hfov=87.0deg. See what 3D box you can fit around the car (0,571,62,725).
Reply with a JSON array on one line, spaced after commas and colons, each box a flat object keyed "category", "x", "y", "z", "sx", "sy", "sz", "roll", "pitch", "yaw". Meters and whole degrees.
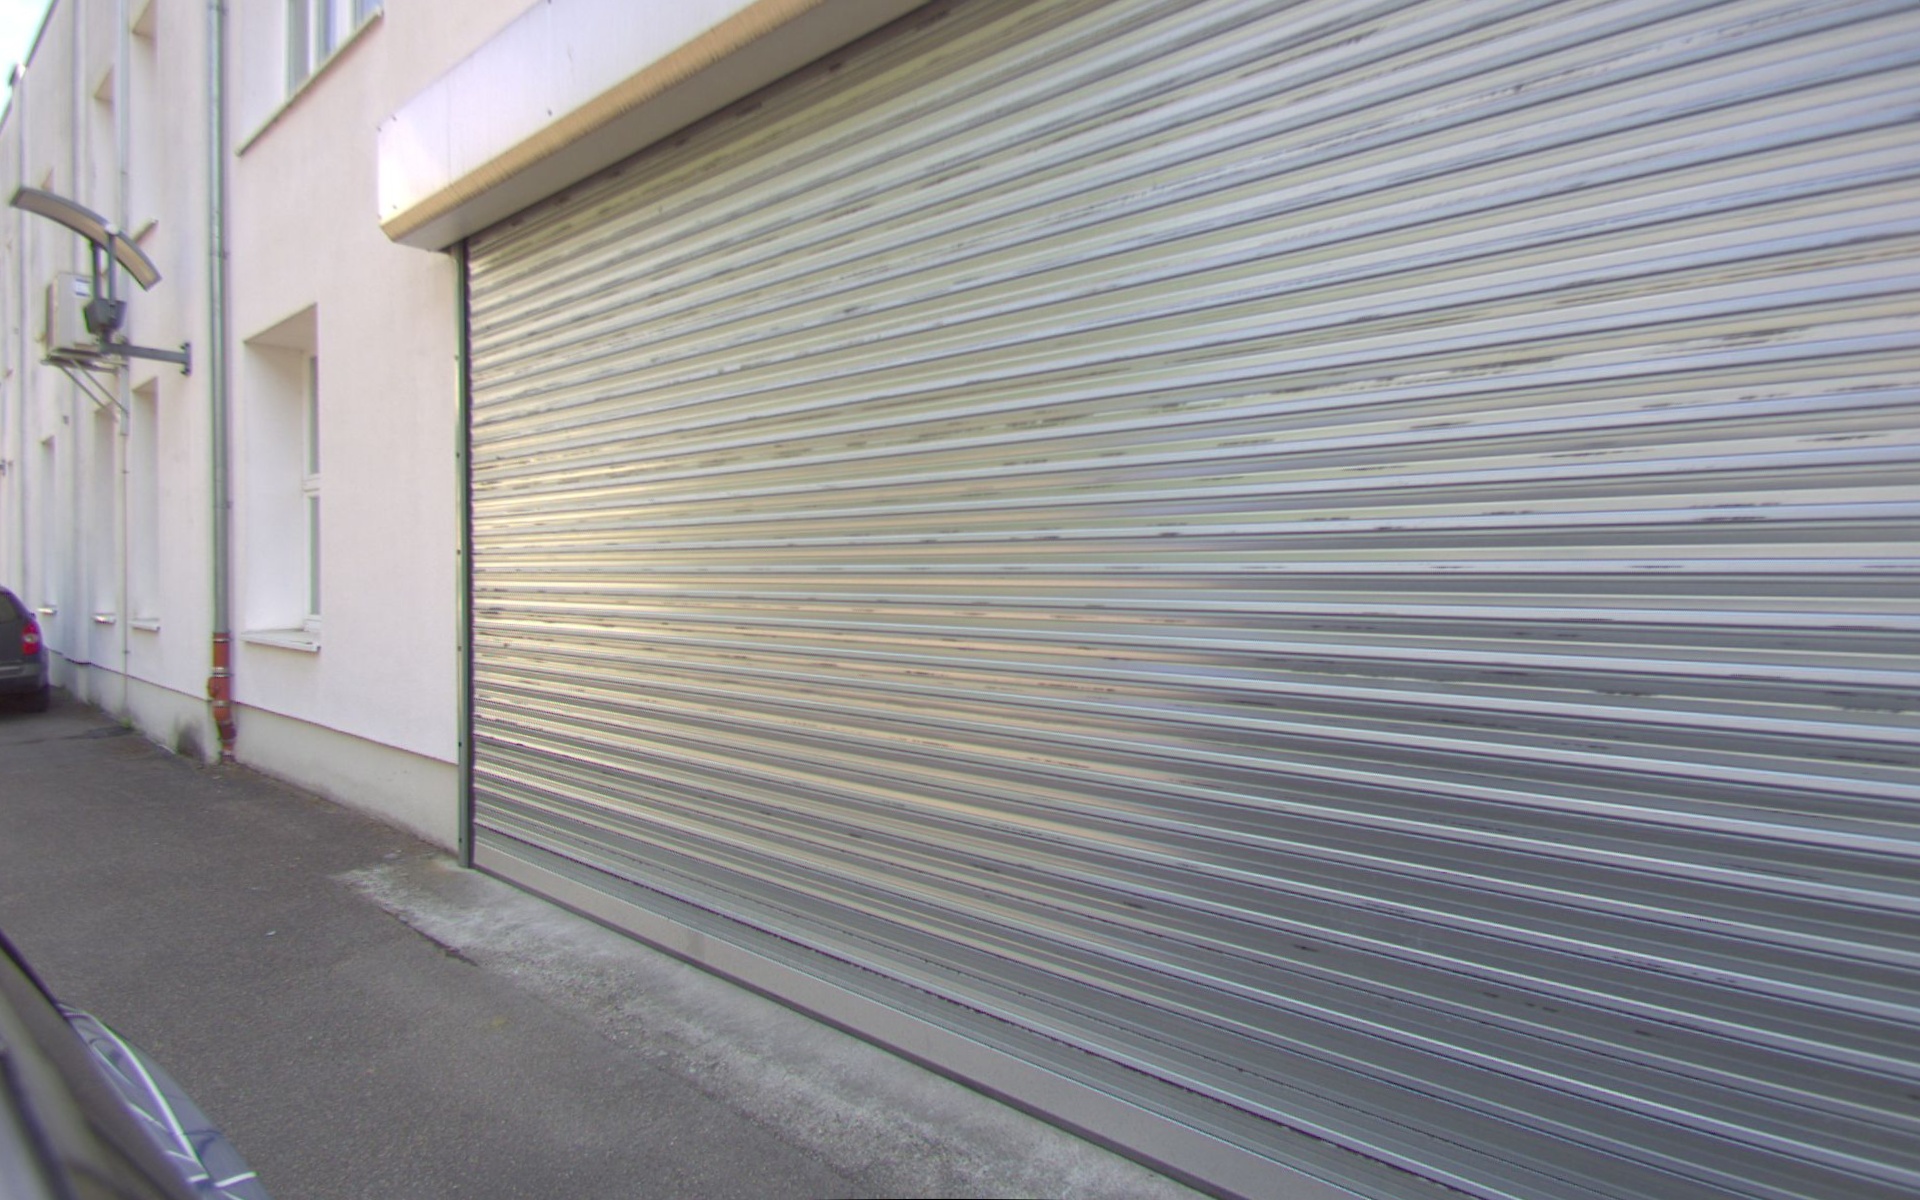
[{"category": "car", "x": -11.596, "y": 0.461, "z": 11.218, "sx": 4.427, "sy": 1.452, "sz": 1.818, "roll": 3, "pitch": 5, "yaw": 40}]
